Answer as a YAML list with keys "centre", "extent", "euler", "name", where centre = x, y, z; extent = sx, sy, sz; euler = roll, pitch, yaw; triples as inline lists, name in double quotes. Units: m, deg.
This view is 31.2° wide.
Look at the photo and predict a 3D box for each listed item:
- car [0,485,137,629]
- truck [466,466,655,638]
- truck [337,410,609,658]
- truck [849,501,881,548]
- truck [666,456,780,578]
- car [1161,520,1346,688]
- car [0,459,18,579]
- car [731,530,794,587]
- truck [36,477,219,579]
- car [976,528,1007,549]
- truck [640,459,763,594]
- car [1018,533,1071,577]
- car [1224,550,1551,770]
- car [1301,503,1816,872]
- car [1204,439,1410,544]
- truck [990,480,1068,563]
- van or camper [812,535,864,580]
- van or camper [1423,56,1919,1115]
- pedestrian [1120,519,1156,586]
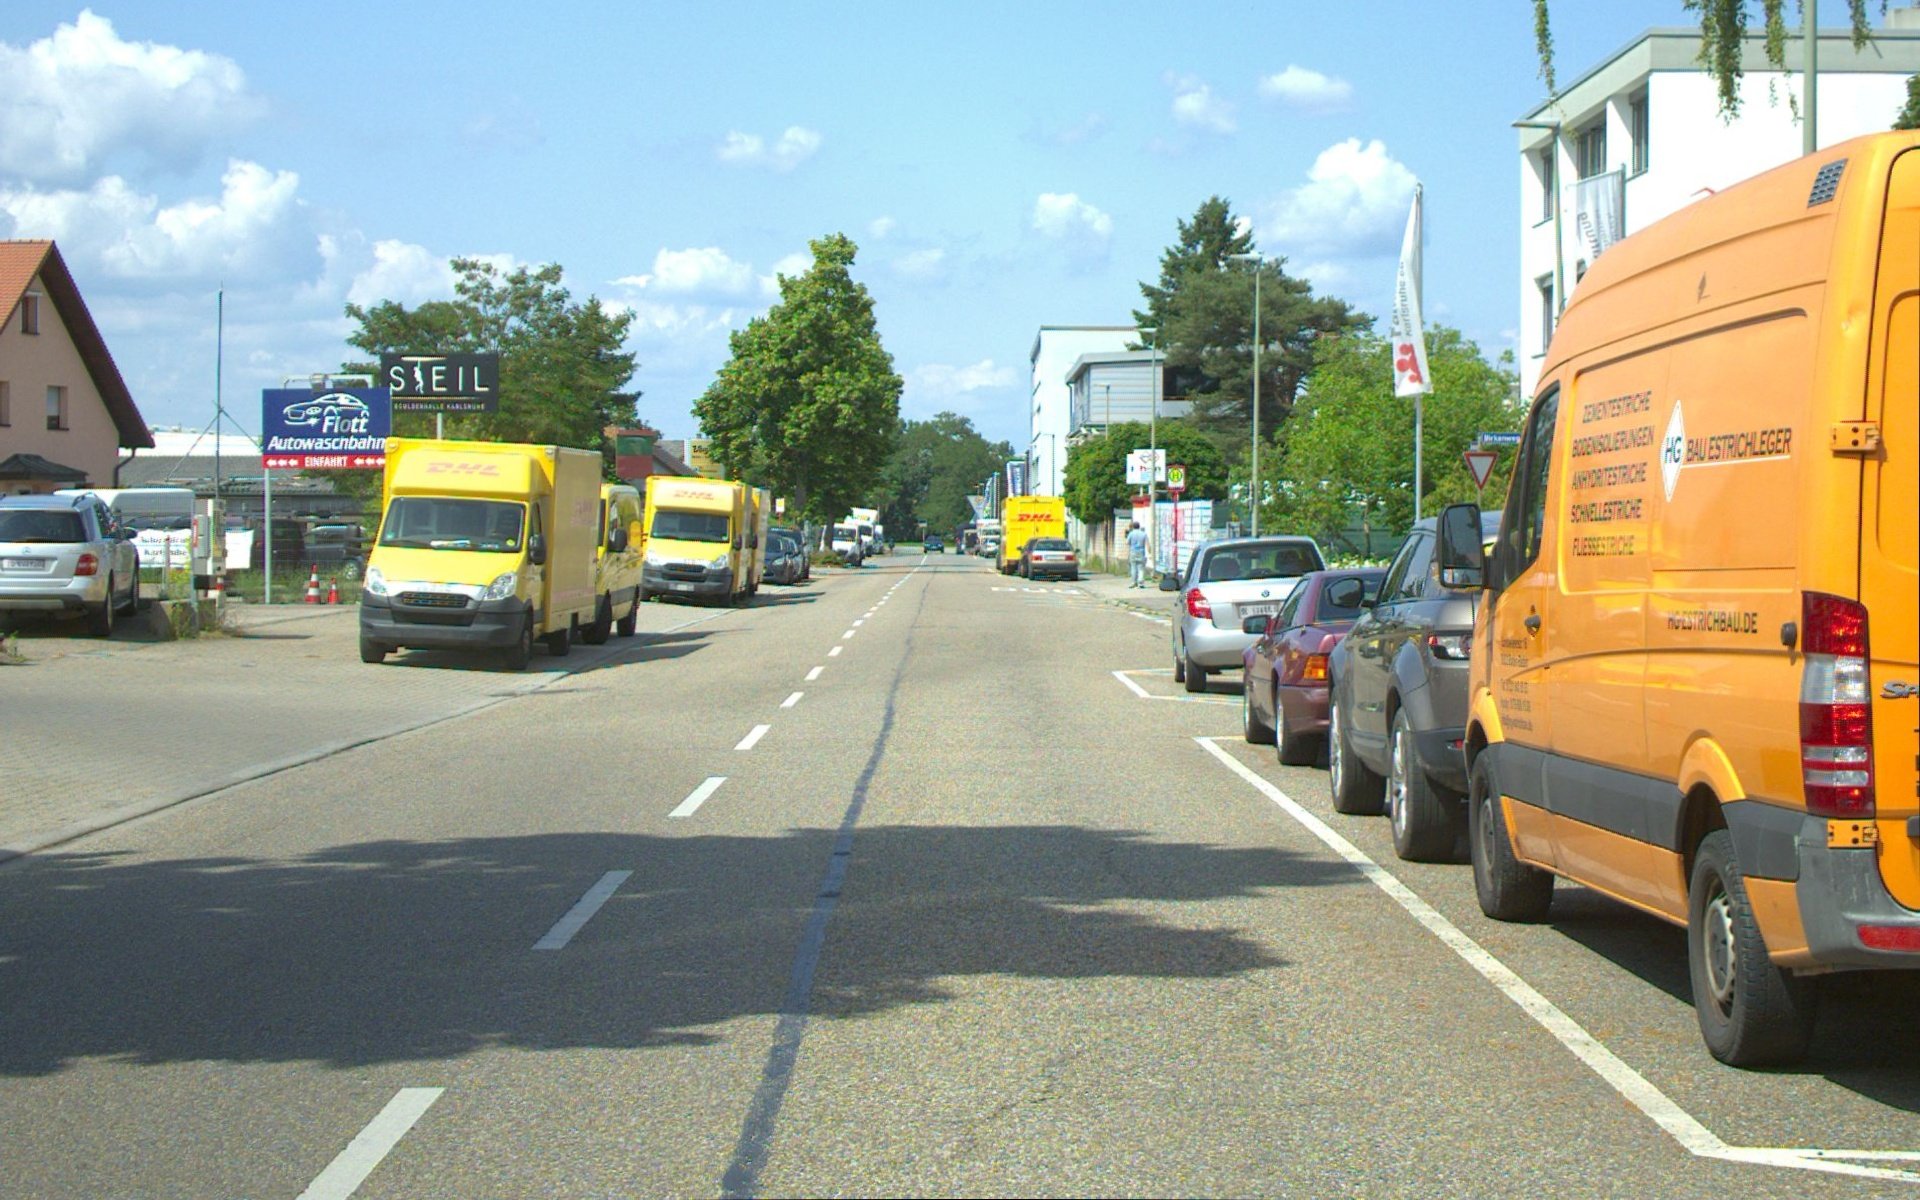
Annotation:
- centre: [-12.068, -0.618, 45.639]
  extent: [1.828, 1.699, 4.709]
  euler: [0, 3, -9]
  name: "car"
- centre: [-5.911, -0.748, 51.539]
  extent: [1.993, 2.405, 6.064]
  euler: [0, 1, 1]
  name: "truck"
- centre: [-6.092, -0.859, 43.970]
  extent: [2.220, 2.847, 7.069]
  euler: [2, 1, 1]
  name: "truck"
- centre: [-6.392, -5.114, 232.140]
  extent: [2.029, 3.143, 6.500]
  euler: [0, 1, 0]
  name: "truck"
- centre: [-5.933, -2.091, 87.060]
  extent: [2.316, 2.853, 7.105]
  euler: [3, 1, 0]
  name: "truck"
- centre: [2.957, -0.007, 35.261]
  extent: [1.610, 1.575, 4.000]
  euler: [2, 1, 1]
  name: "car"
- centre: [-16.348, -1.292, 51.360]
  extent: [3.930, 1.804, 1.855]
  euler: [3, 2, 10]
  name: "car"
- centre: [-6.015, -1.289, 104.927]
  extent: [1.724, 1.598, 4.415]
  euler: [3, 1, -2]
  name: "car"
- centre: [-20.973, -1.824, 86.875]
  extent: [2.112, 2.479, 5.717]
  euler: [1, 1, 13]
  name: "truck"
- centre: [2.028, -3.957, 220.130]
  extent: [1.928, 1.306, 4.000]
  euler: [0, 1, 0]
  name: "car"
- centre: [-5.762, -1.614, 77.503]
  extent: [2.269, 2.845, 7.175]
  euler: [2, 1, -1]
  name: "truck"
- centre: [2.821, -1.535, 115.861]
  extent: [1.652, 1.382, 4.423]
  euler: [1, 2, 0]
  name: "car"
- centre: [2.861, 0.345, 23.864]
  extent: [1.669, 1.330, 4.438]
  euler: [1, 1, 0]
  name: "car"
- centre: [2.867, 0.340, 17.389]
  extent: [1.832, 1.634, 4.240]
  euler: [0, 1, 0]
  name: "car"
- centre: [8.885, -2.757, 88.242]
  extent: [4.905, 2.643, 2.074]
  euler: [0, 1, -7]
  name: "car"
- centre: [2.515, -2.900, 127.470]
  extent: [2.474, 2.930, 7.189]
  euler: [2, 1, -1]
  name: "truck"
- centre: [-6.599, -2.340, 187.349]
  extent: [2.174, 2.405, 7.697]
  euler: [0, 1, 3]
  name: "van or camper"
- centre: [3.045, -0.095, 11.535]
  extent: [1.993, 2.655, 5.770]
  euler: [0, 1, -2]
  name: "van or camper"
- centre: [4.654, -1.242, 89.888]
  extent: [0.715, 1.691, 0.522]
  euler: [-5, 1, -4]
  name: "pedestrian"
